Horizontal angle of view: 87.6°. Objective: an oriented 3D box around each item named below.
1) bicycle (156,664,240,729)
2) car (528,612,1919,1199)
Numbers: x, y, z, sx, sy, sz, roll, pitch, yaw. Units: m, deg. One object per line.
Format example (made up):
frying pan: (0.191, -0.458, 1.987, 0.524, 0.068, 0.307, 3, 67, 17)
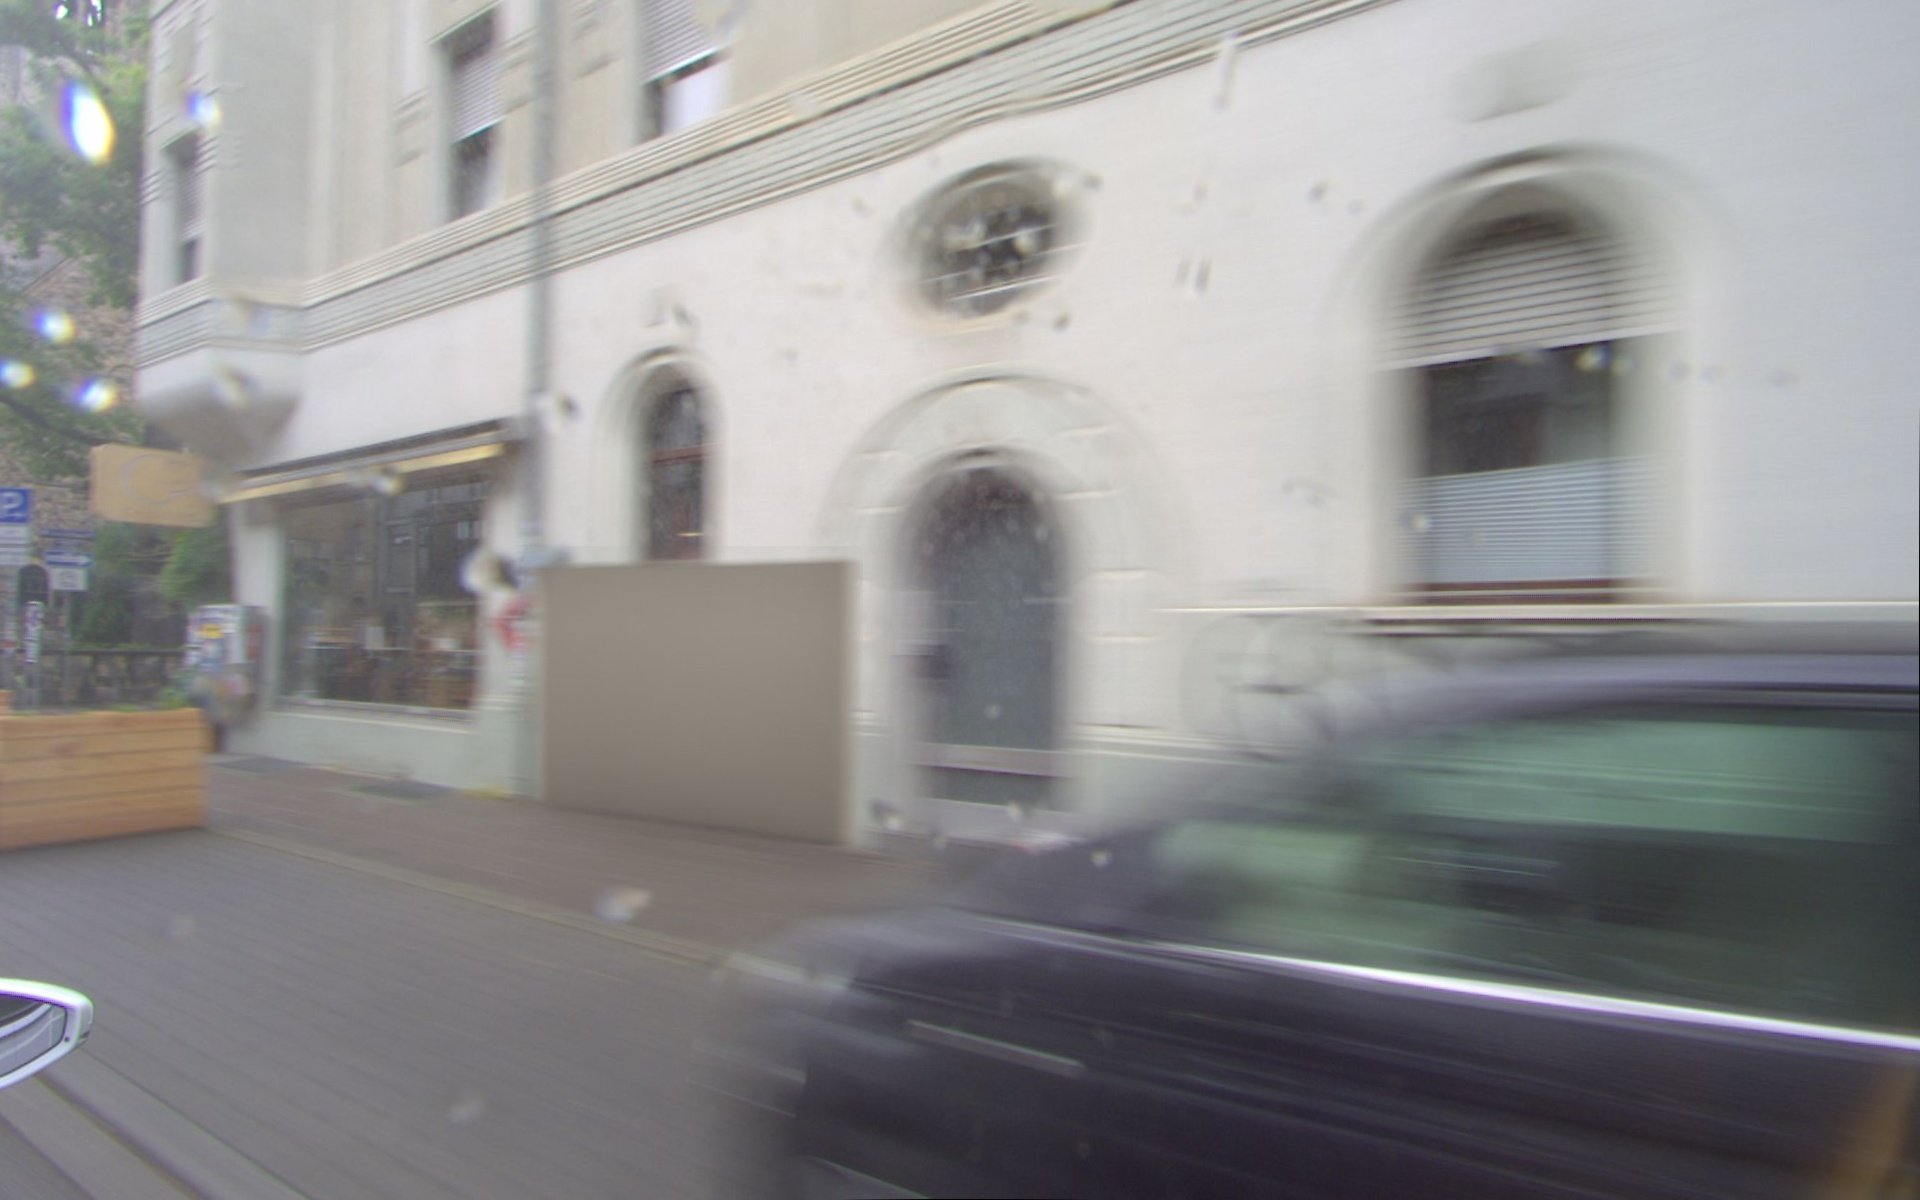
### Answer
bicycle: (-12.085, 1.533, 15.864, 1.895, 0.990, 0.451, -4, -5, 33)
car: (1.049, 0.750, 1.898, 3.652, 1.418, 1.707, -1, -2, 33)
